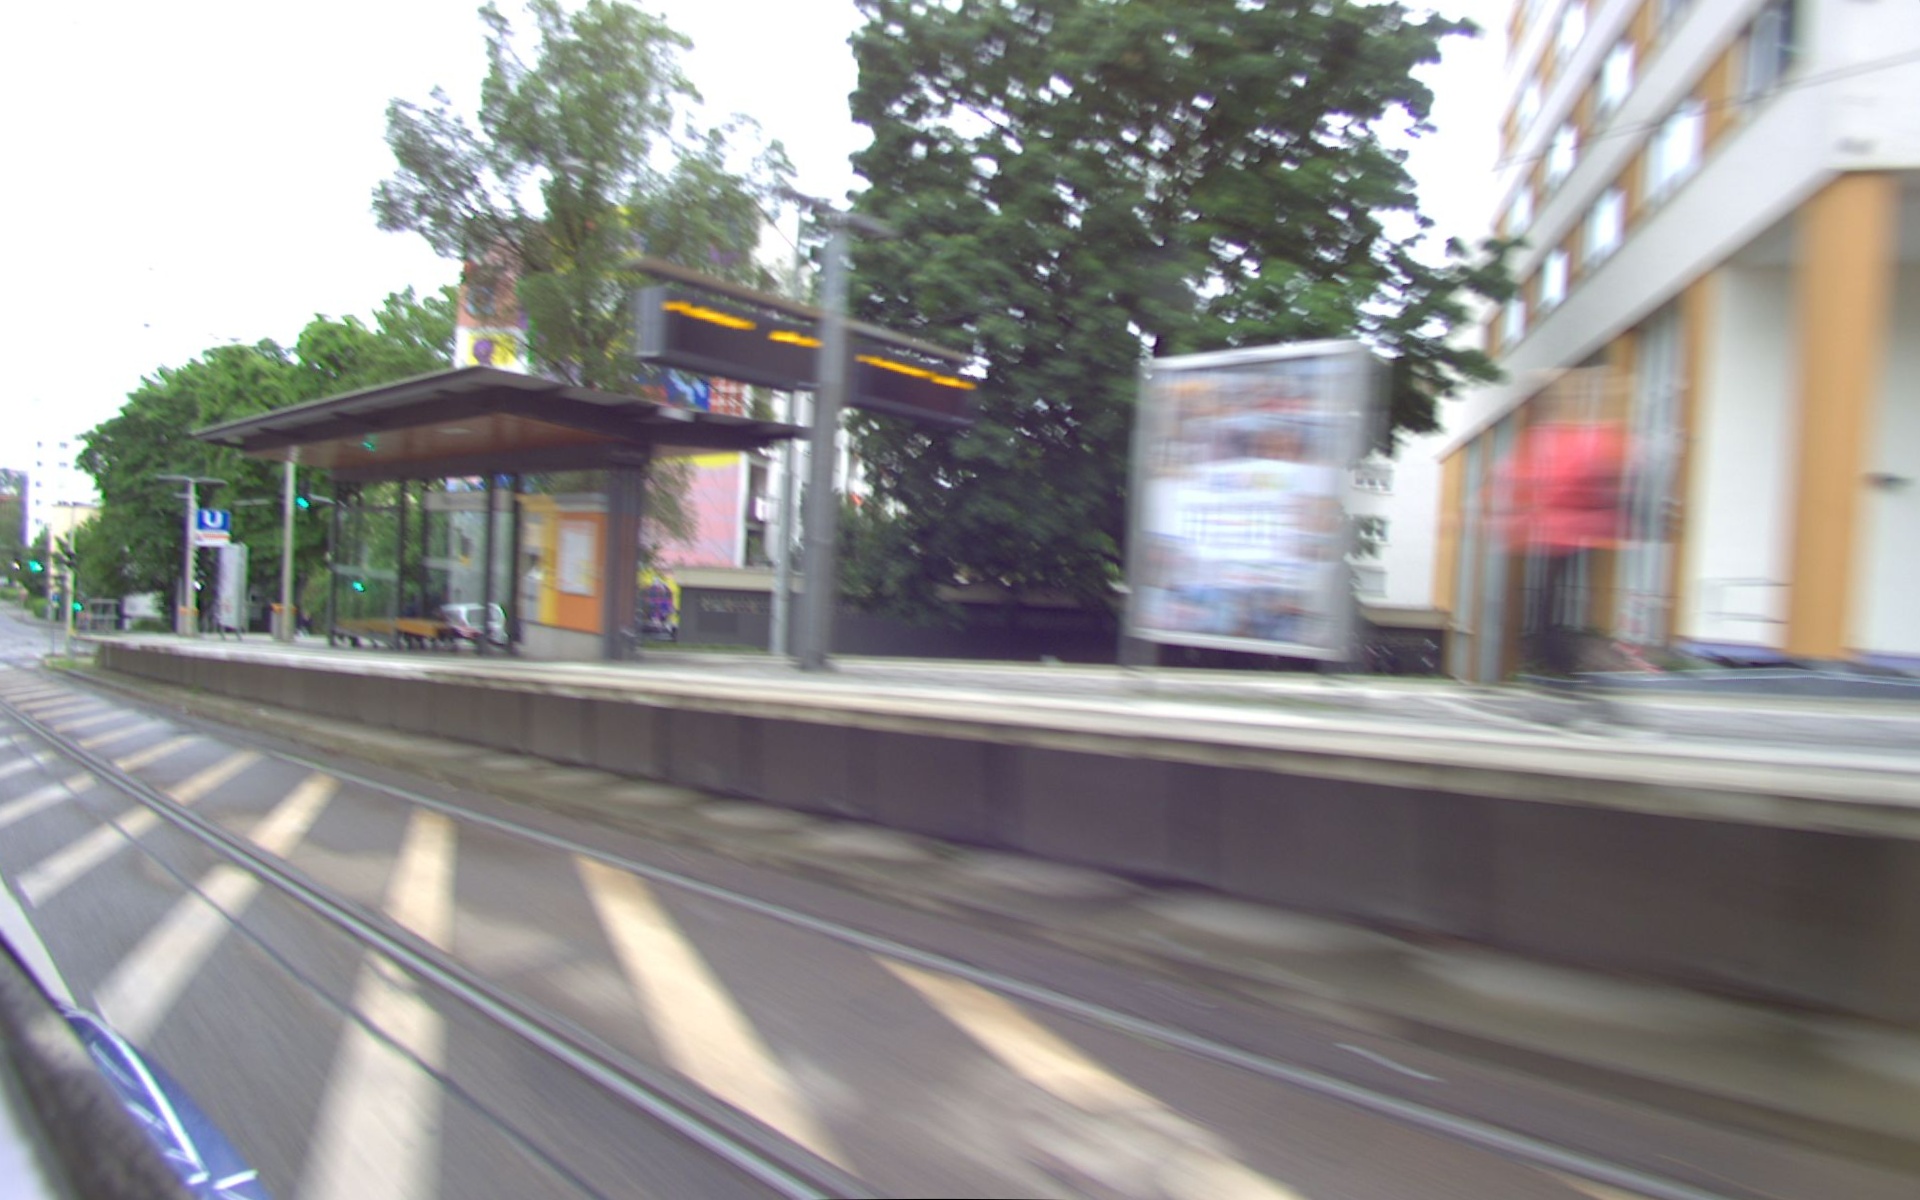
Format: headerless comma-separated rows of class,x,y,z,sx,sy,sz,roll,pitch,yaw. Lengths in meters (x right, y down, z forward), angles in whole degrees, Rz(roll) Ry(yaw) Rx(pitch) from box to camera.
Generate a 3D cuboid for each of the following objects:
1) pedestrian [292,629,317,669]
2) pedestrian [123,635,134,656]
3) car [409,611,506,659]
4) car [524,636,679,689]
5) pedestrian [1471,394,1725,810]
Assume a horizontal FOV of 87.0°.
pedestrian,-26.735,1.987,41.273,0.618,1.605,0.744,-2,-1,44
pedestrian,-60.029,3.279,73.037,0.529,1.437,0.522,-2,-1,44
car,-19.124,1.360,38.475,4.439,1.730,1.728,-2,-3,41
car,-11.457,1.959,32.385,4.415,1.554,1.951,1,-3,-28
pedestrian,2.706,0.023,4.298,0.771,1.560,0.664,-3,-3,41
